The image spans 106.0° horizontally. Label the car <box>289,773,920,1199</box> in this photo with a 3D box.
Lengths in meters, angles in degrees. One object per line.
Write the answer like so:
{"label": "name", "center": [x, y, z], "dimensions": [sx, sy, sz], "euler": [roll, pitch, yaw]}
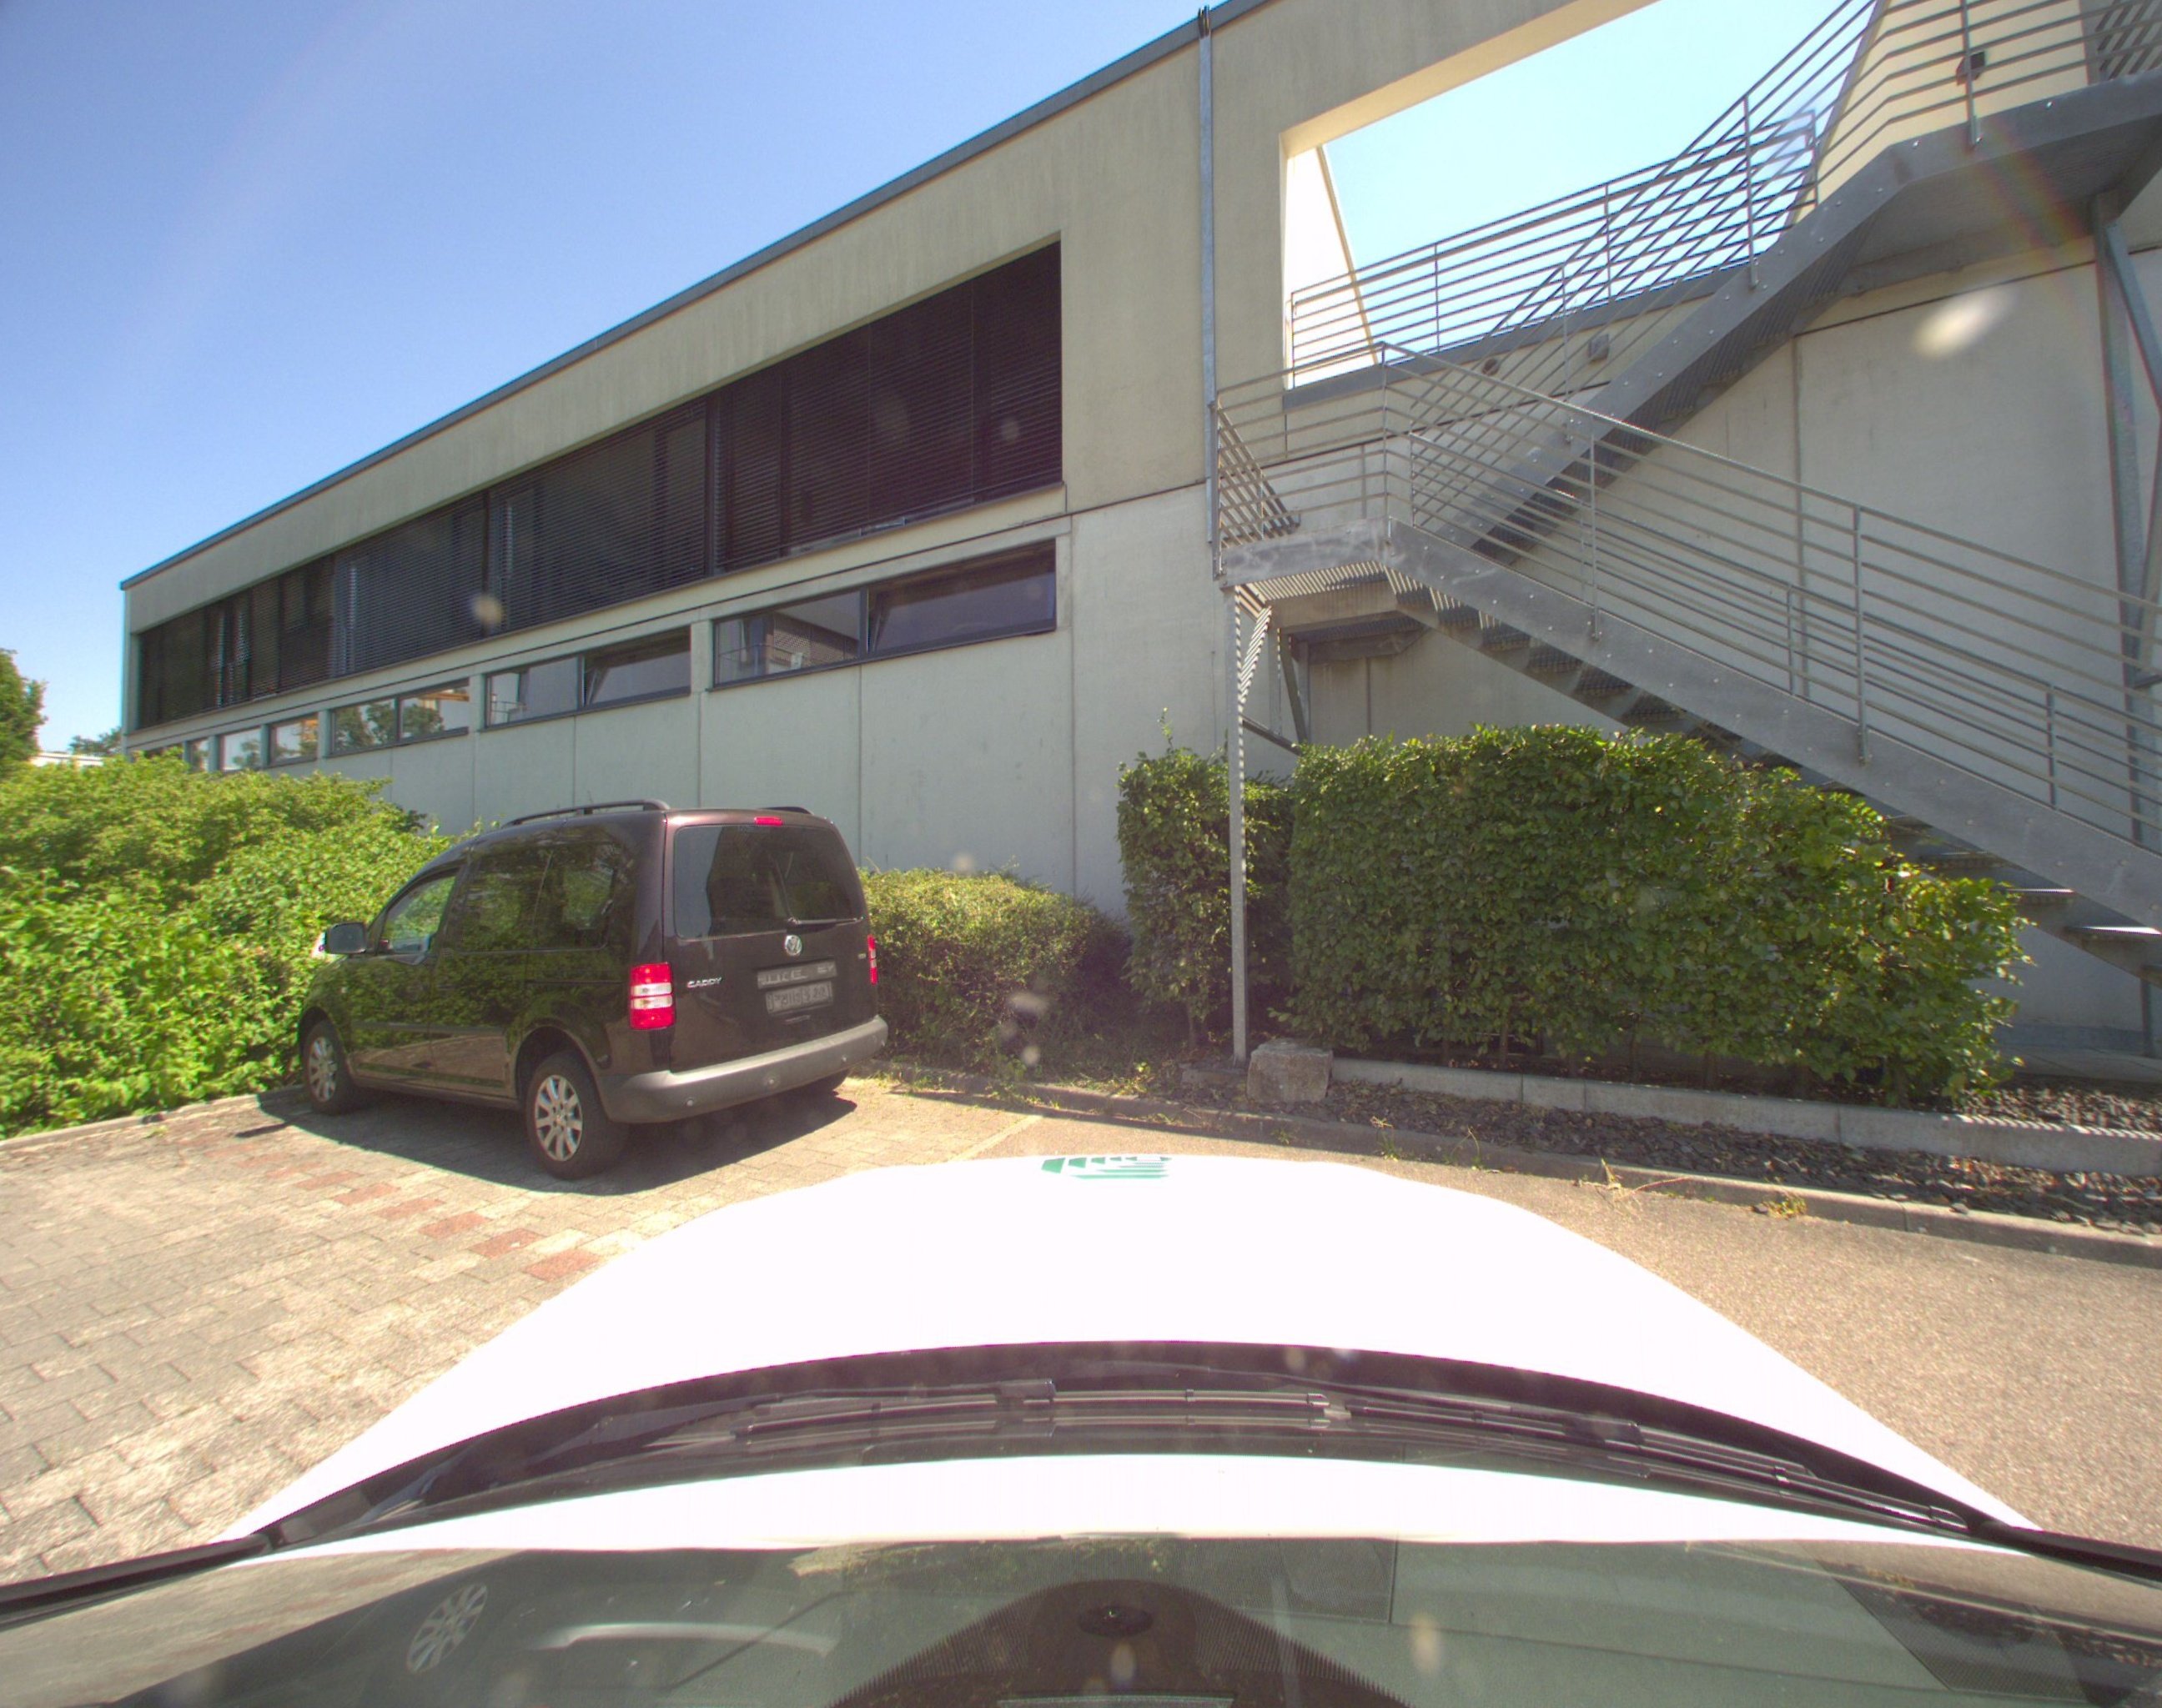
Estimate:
{"label": "car", "center": [-3.192, 0.623, 5.308], "dimensions": [4.020, 1.884, 1.689], "euler": [-1, -1, 28]}
